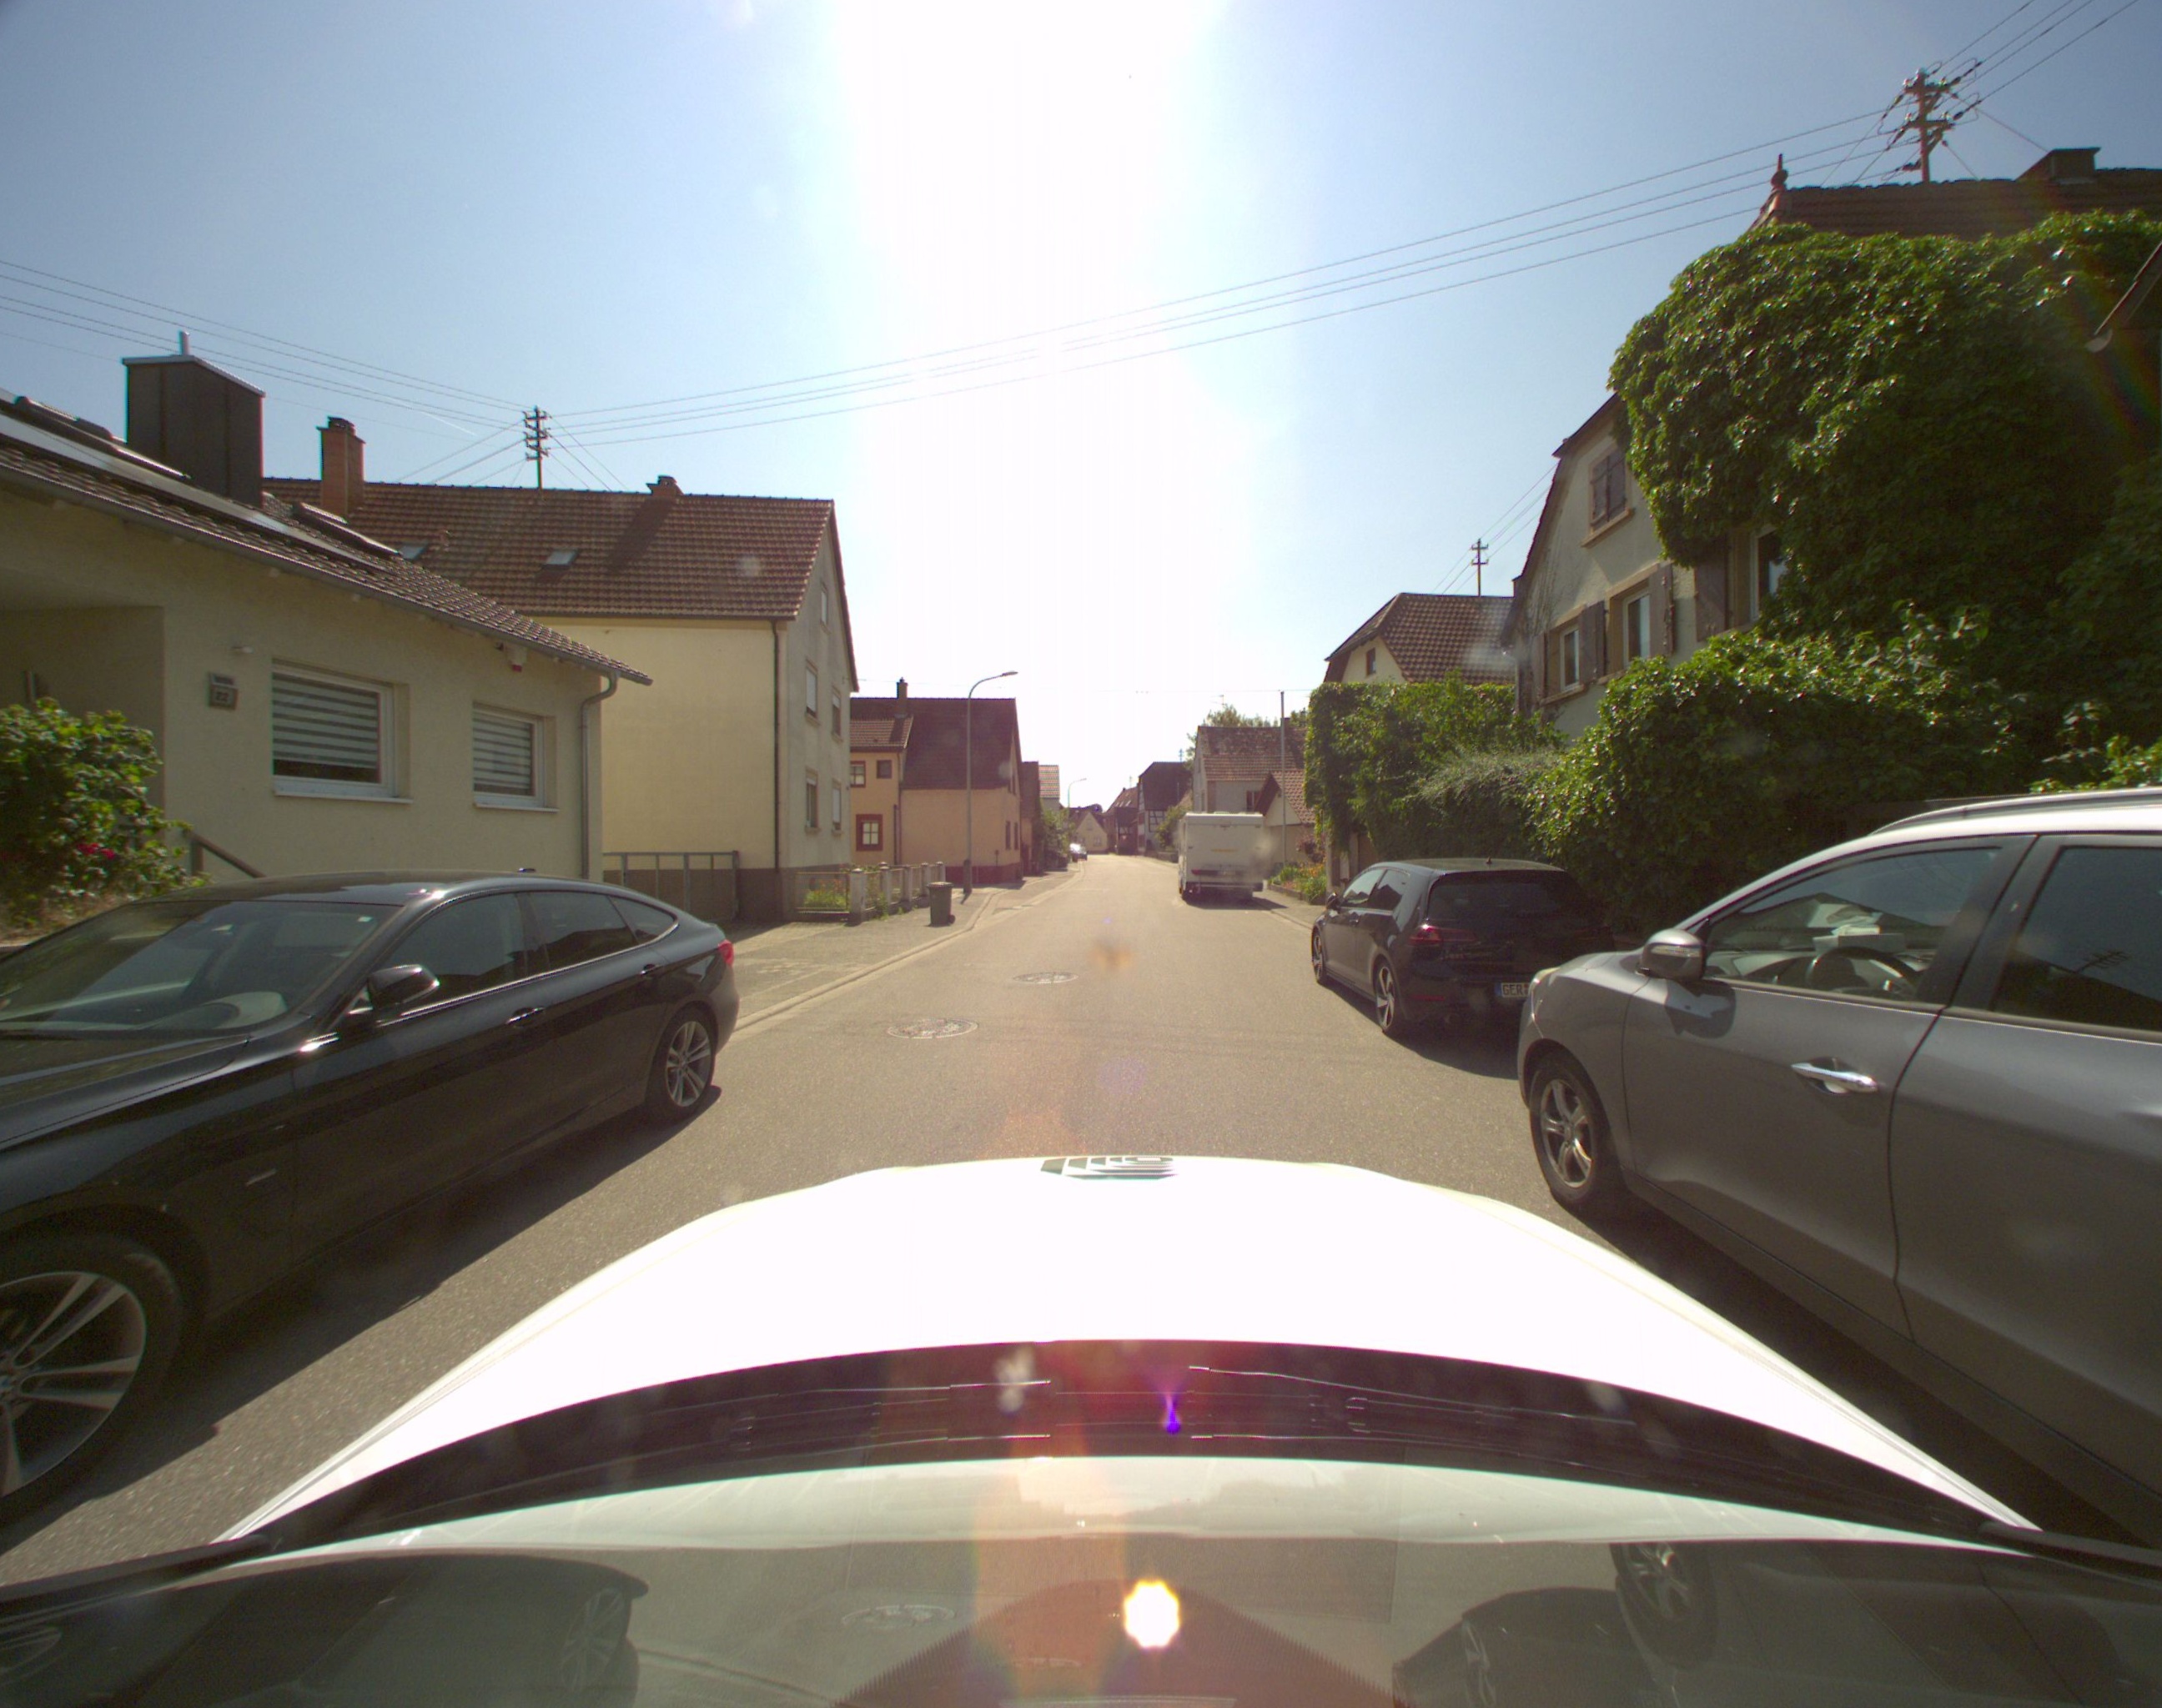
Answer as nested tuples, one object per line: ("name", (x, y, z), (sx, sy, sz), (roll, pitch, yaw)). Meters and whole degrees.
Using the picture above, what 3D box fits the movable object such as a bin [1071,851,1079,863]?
("movable object such as a bin", (-0.522, 0.283, 77.106), (0.686, 1.185, 0.715), (-2, 0, 3))

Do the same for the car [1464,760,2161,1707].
("car", (2.739, 0.637, 2.051), (1.785, 1.631, 4.366), (-1, 1, 5))

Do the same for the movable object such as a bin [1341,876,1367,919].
("movable object such as a bin", (5.968, 0.940, 17.818), (0.410, 0.912, 0.439), (-1, 0, 3))

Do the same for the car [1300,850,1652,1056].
("car", (3.404, 0.717, 7.946), (1.704, 1.464, 4.070), (-1, 0, 4))

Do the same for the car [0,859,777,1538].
("car", (-3.285, 0.808, 3.558), (1.836, 1.527, 4.770), (0, 0, 4))

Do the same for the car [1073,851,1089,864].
("car", (-0.004, 0.358, 89.562), (1.505, 1.436, 3.514), (-2, 0, 3))

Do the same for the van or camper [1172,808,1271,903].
("van or camper", (4.311, 0.036, 25.778), (2.512, 2.697, 4.558), (-1, 0, 2))

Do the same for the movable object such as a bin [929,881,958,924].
("movable object such as a bin", (-3.135, 1.097, 18.558), (0.537, 0.949, 0.553), (0, 0, 3))
